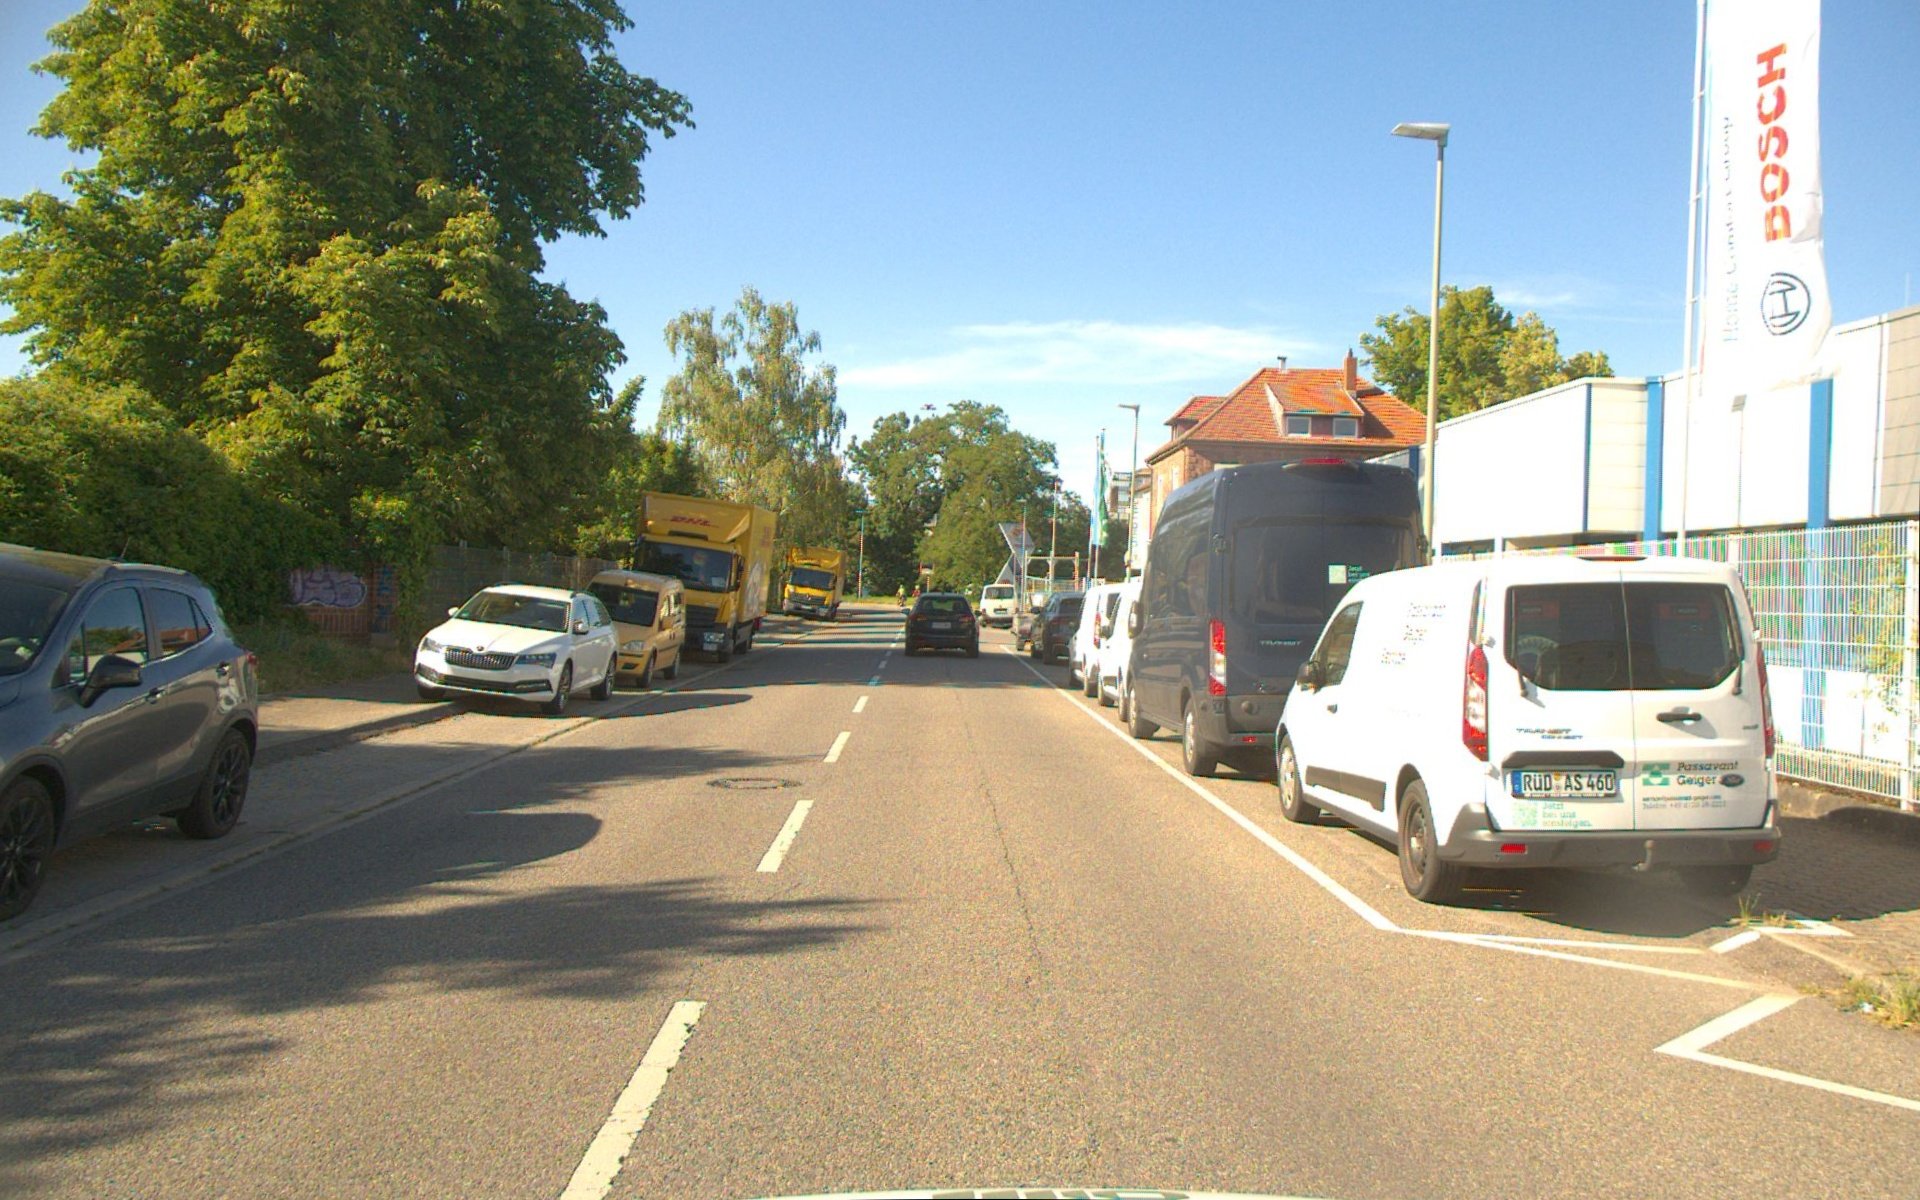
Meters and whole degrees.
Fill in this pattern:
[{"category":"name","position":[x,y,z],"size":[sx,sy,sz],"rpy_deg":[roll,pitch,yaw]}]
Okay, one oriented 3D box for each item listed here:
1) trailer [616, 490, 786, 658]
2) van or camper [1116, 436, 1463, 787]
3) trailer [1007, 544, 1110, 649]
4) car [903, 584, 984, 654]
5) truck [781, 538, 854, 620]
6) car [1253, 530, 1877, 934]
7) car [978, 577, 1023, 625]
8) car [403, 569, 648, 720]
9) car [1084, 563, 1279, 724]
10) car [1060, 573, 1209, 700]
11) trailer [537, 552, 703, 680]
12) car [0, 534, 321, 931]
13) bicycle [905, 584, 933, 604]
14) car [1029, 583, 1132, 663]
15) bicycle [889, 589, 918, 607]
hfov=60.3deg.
[{"category":"trailer","position":[-5.934,-0.566,39.253],"size":[2.931,3.503,8.158],"rpy_deg":[1,0,-2]},{"category":"van or camper","position":[3.040,0.100,16.853],"size":[2.097,2.807,6.160],"rpy_deg":[3,0,-1]},{"category":"trailer","position":[2.687,-0.110,46.550],"size":[2.410,2.719,5.700],"rpy_deg":[1,0,-1]},{"category":"car","position":[-0.389,0.418,39.600],"size":[1.809,1.556,4.000],"rpy_deg":[1,1,0]},{"category":"truck","position":[-7.046,-1.130,82.829],"size":[2.580,3.563,8.656],"rpy_deg":[7,1,-1]},{"category":"car","position":[3.341,0.630,10.419],"size":[1.848,1.829,5.102],"rpy_deg":[3,0,-2]},{"category":"car","position":[1.855,0.049,76.907],"size":[1.836,2.048,5.159],"rpy_deg":[3,0,-1]},{"category":"car","position":[-5.700,0.520,22.424],"size":[1.870,1.620,5.025],"rpy_deg":[6,0,0]},{"category":"car","position":[2.907,0.535,22.844],"size":[1.847,1.879,5.103],"rpy_deg":[3,0,-1]},{"category":"car","position":[2.844,0.563,28.086],"size":[1.818,1.862,5.167],"rpy_deg":[3,0,-1]},{"category":"trailer","position":[-5.710,0.247,28.350],"size":[1.953,1.975,4.414],"rpy_deg":[1,0,-1]},{"category":"car","position":[-5.267,0.532,9.059],"size":[1.871,1.691,4.461],"rpy_deg":[6,0,-3]},{"category":"bicycle","position":[-2.845,-0.418,114.659],"size":[0.797,1.290,2.231],"rpy_deg":[3,0,-35]},{"category":"car","position":[2.806,0.514,39.403],"size":[1.954,1.696,4.730],"rpy_deg":[3,0,-1]},{"category":"bicycle","position":[-4.043,-0.146,118.403],"size":[0.798,1.242,2.226],"rpy_deg":[3,0,-40]}]
